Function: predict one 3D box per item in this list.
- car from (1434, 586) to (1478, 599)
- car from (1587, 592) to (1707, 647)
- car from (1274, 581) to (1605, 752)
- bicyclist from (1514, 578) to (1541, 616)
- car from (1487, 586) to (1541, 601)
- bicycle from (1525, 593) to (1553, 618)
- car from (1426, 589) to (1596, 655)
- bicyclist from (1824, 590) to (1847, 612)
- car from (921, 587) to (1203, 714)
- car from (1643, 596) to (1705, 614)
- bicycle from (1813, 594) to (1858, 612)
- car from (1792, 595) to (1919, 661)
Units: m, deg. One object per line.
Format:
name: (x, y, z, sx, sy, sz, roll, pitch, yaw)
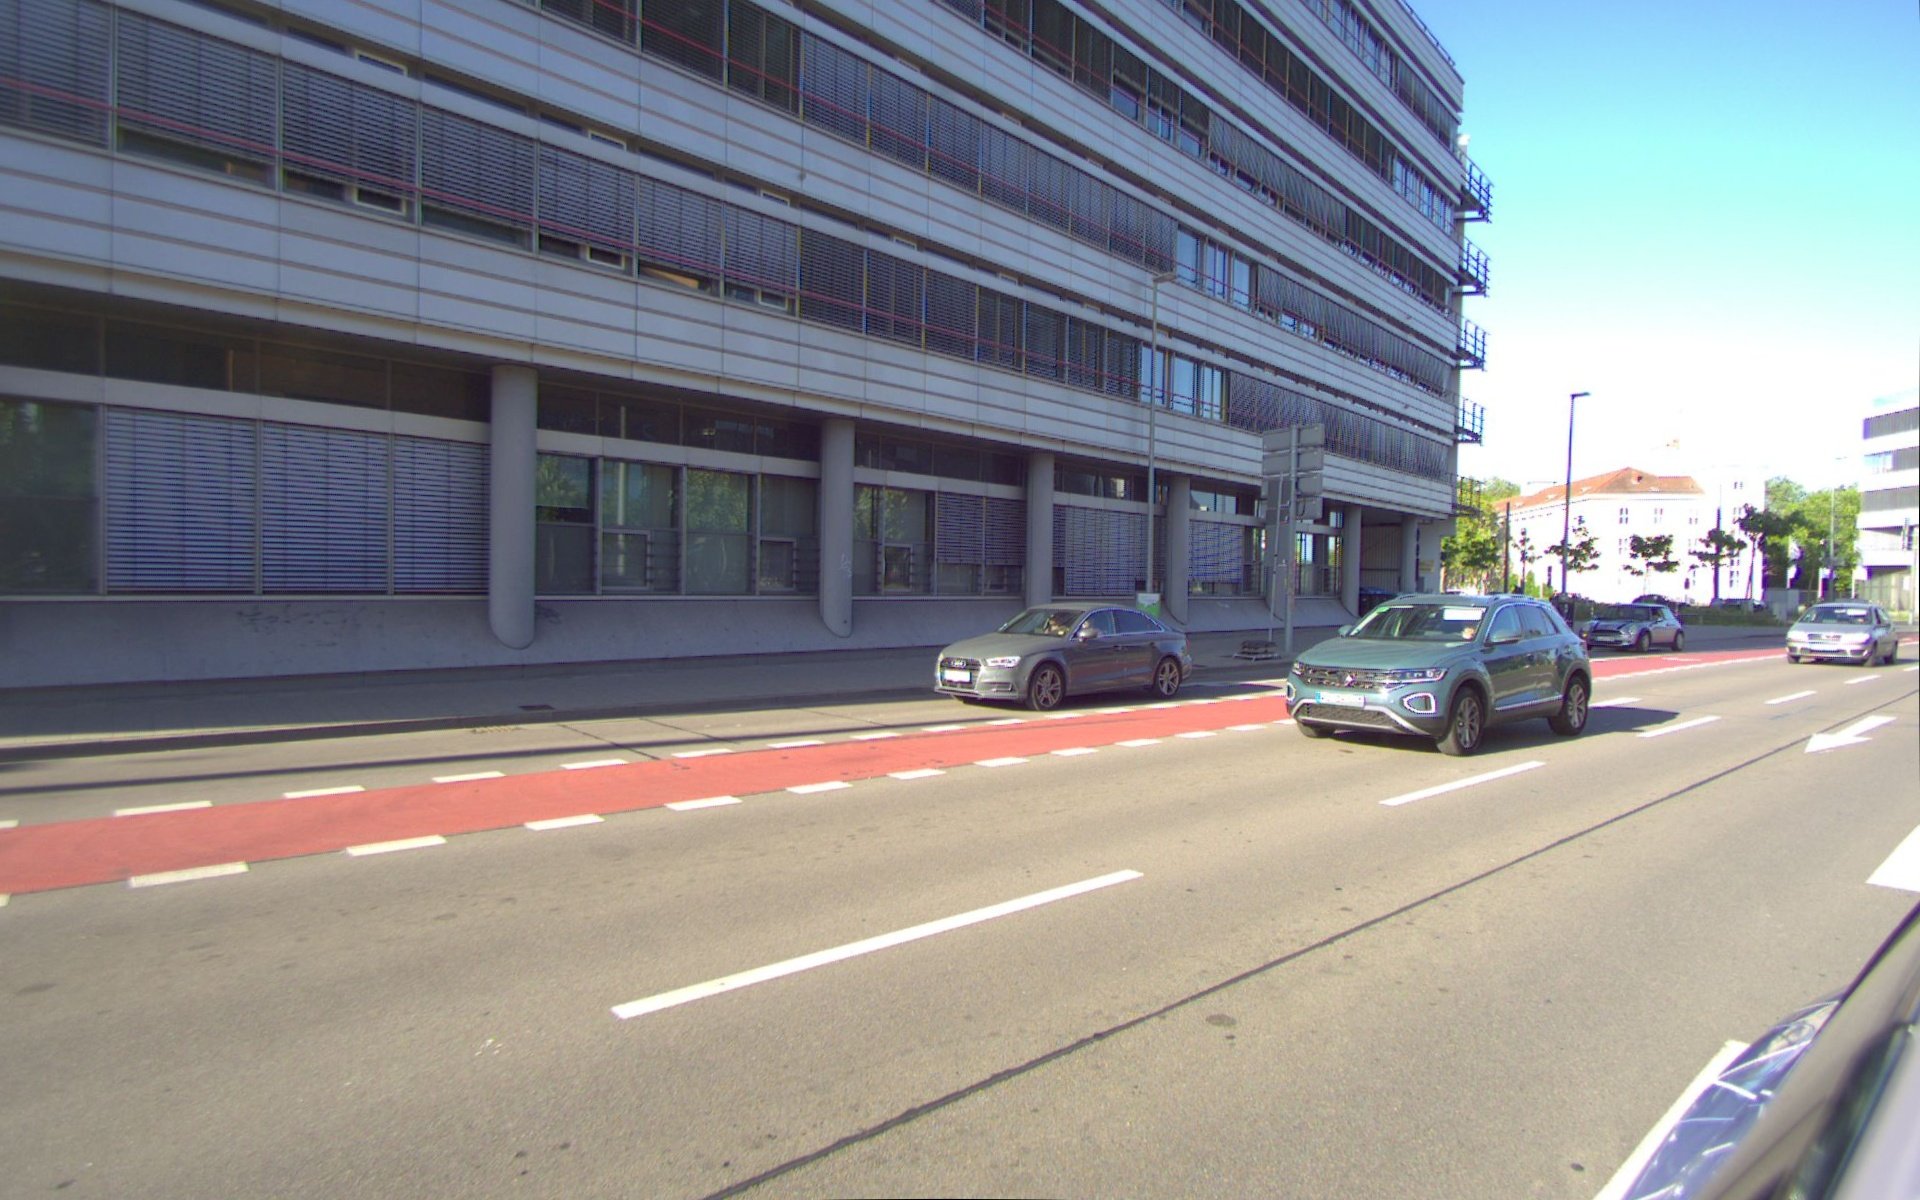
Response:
car: (53.569, -0.804, 109.416, 1.958, 1.259, 4.009, 0, 1, -19)
car: (20.061, 0.535, 29.514, 3.922, 1.463, 1.441, 0, 2, -33)
car: (5.307, 0.582, 11.035, 3.810, 1.523, 1.749, 0, 2, -38)
bicyclist: (25.171, -0.124, 44.881, 0.973, 1.638, 0.685, 0, 1, -39)
car: (56.202, -0.660, 102.719, 1.958, 1.439, 4.535, 0, 1, -24)
bicycle: (25.574, 0.230, 44.693, 1.672, 1.070, 0.505, -1, 4, -40)
car: (13.344, 0.499, 24.494, 3.919, 1.464, 1.739, 1, 1, -28)
bicyclist: (64.888, 0.050, 75.031, 0.862, 1.627, 1.009, 0, 1, -27)
car: (1.550, 0.603, 14.530, 4.039, 1.459, 1.714, -2, 3, -40)
car: (62.166, 0.448, 88.156, 1.958, 1.439, 4.009, 0, 1, -21)
bicycle: (64.881, 0.212, 75.012, 0.932, 1.328, 2.376, 0, 1, -27)
car: (21.702, 0.620, 24.367, 3.695, 1.447, 1.622, 0, 0, -34)
